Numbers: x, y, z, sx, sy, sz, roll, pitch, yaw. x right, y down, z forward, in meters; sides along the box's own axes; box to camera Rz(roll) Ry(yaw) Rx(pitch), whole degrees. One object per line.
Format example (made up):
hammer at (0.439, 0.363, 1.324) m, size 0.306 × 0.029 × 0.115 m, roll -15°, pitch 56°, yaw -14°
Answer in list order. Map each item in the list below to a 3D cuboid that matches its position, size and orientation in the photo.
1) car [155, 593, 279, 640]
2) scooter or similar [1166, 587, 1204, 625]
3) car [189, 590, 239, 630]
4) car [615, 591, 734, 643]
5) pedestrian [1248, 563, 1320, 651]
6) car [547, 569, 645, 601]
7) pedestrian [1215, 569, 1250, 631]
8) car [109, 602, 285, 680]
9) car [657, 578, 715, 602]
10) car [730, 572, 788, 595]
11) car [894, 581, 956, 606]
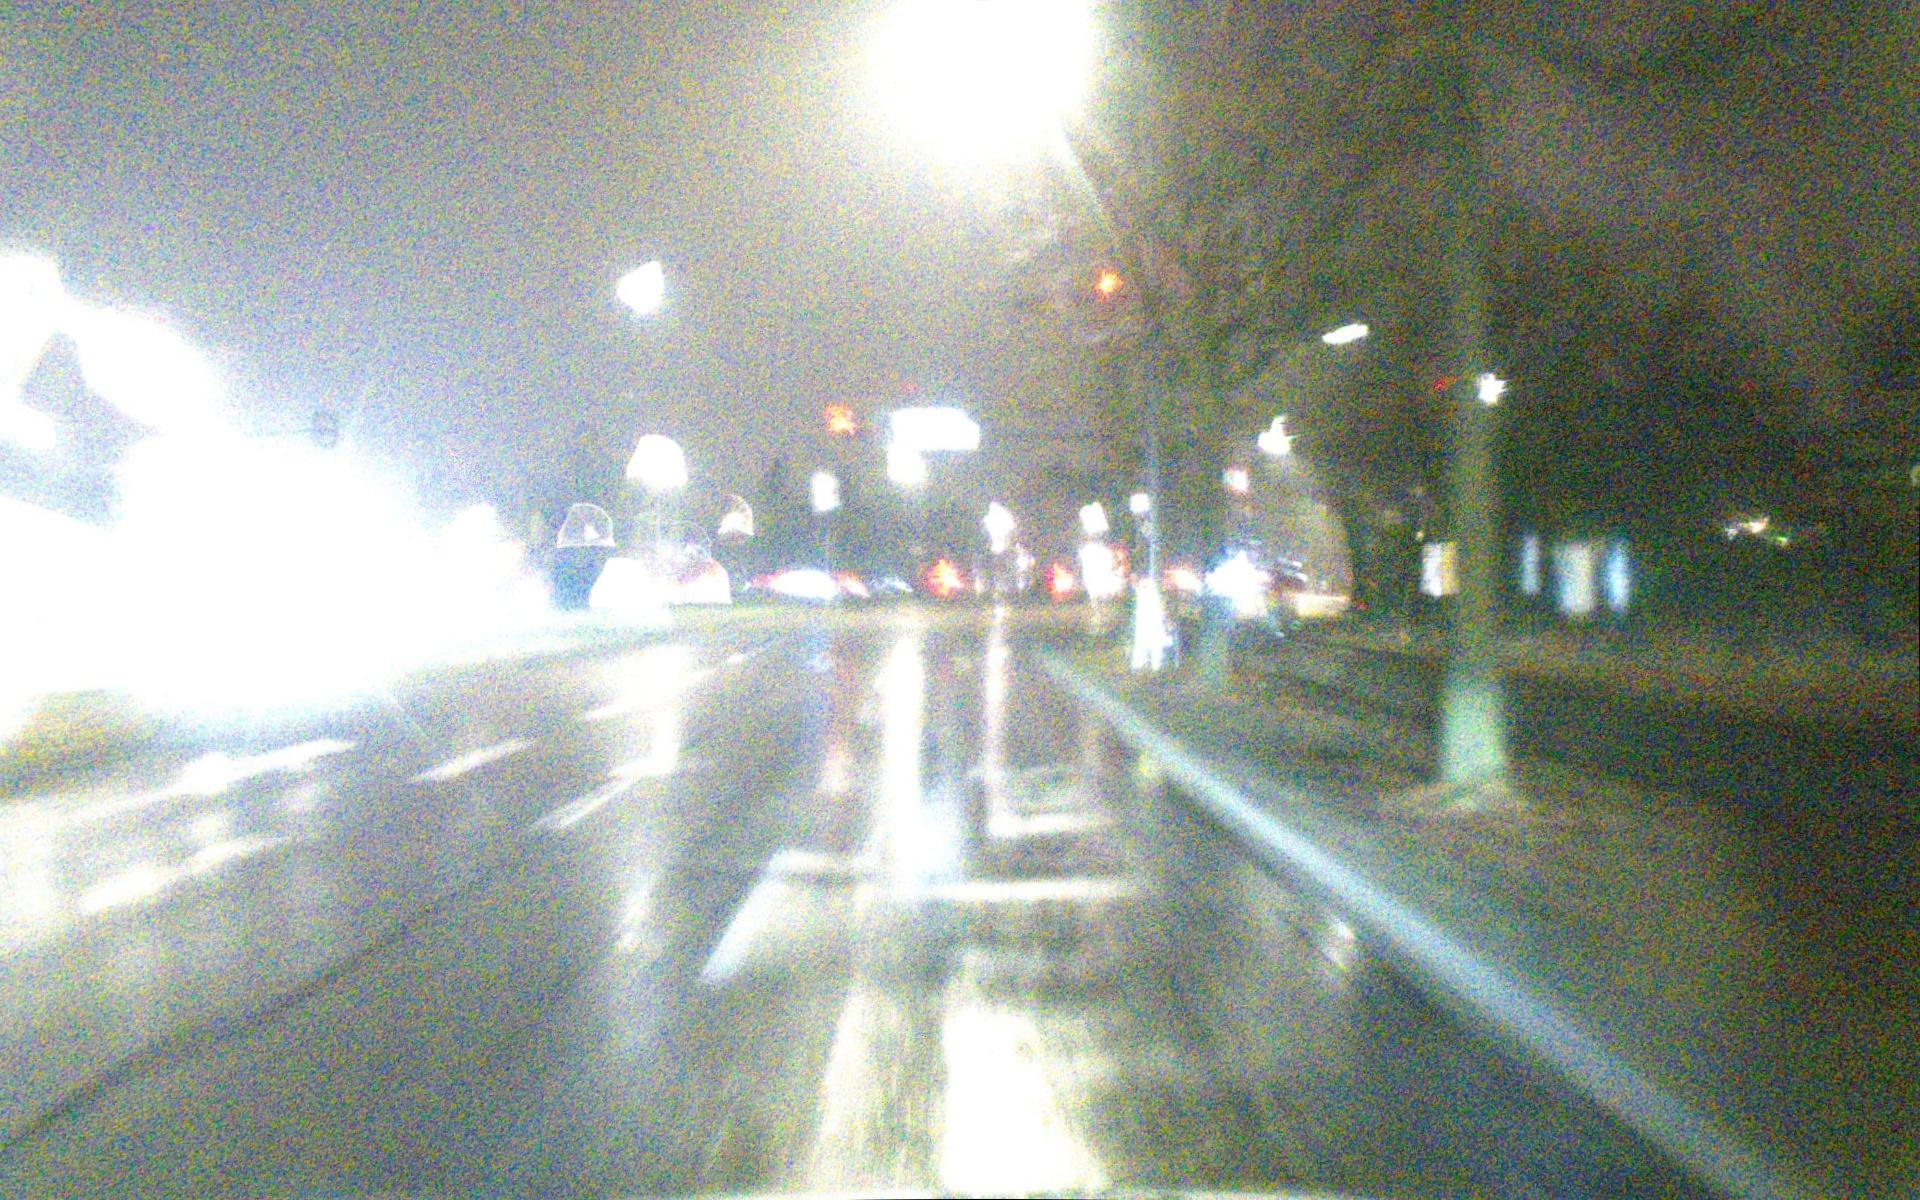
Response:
car at (-24.325, 0.500, 54.386) m, size 1.954 × 1.426 × 5.346 m, roll 0°, pitch 1°, yaw -4°
scooter or similar at (6.786, 0.178, 49.853) m, size 1.080 × 1.117 × 0.317 m, roll -1°, pitch -1°, yaw 28°
car at (-34.820, 0.425, 77.284) m, size 2.036 × 1.745 × 5.004 m, roll 0°, pitch 1°, yaw -23°
car at (-11.540, 0.678, 66.912) m, size 4.476 × 2.049 × 1.988 m, roll 0°, pitch 1°, yaw -21°
pedestrian at (6.822, 0.134, 34.939) m, size 1.202 × 1.825 × 1.490 m, roll 0°, pitch 1°, yaw -1°
car at (-24.994, -1.052, 113.478) m, size 6.215 × 2.125 × 2.495 m, roll 0°, pitch 1°, yaw -26°
pedestrian at (6.748, 0.005, 40.945) m, size 0.711 × 1.511 × 0.836 m, roll 0°, pitch 0°, yaw -1°
car at (-16.303, 0.827, 35.620) m, size 1.792 × 1.490 × 4.657 m, roll 0°, pitch 1°, yaw -3°
car at (-19.141, -0.727, 115.647) m, size 3.912 × 1.644 × 1.834 m, roll 0°, pitch 1°, yaw -8°
car at (-14.069, -1.165, 115.730) m, size 3.873 × 1.606 × 1.736 m, roll 0°, pitch 1°, yaw -3°
car at (-2.419, -0.454, 113.997) m, size 3.908 × 1.644 × 1.835 m, roll 1°, pitch 1°, yaw 25°
